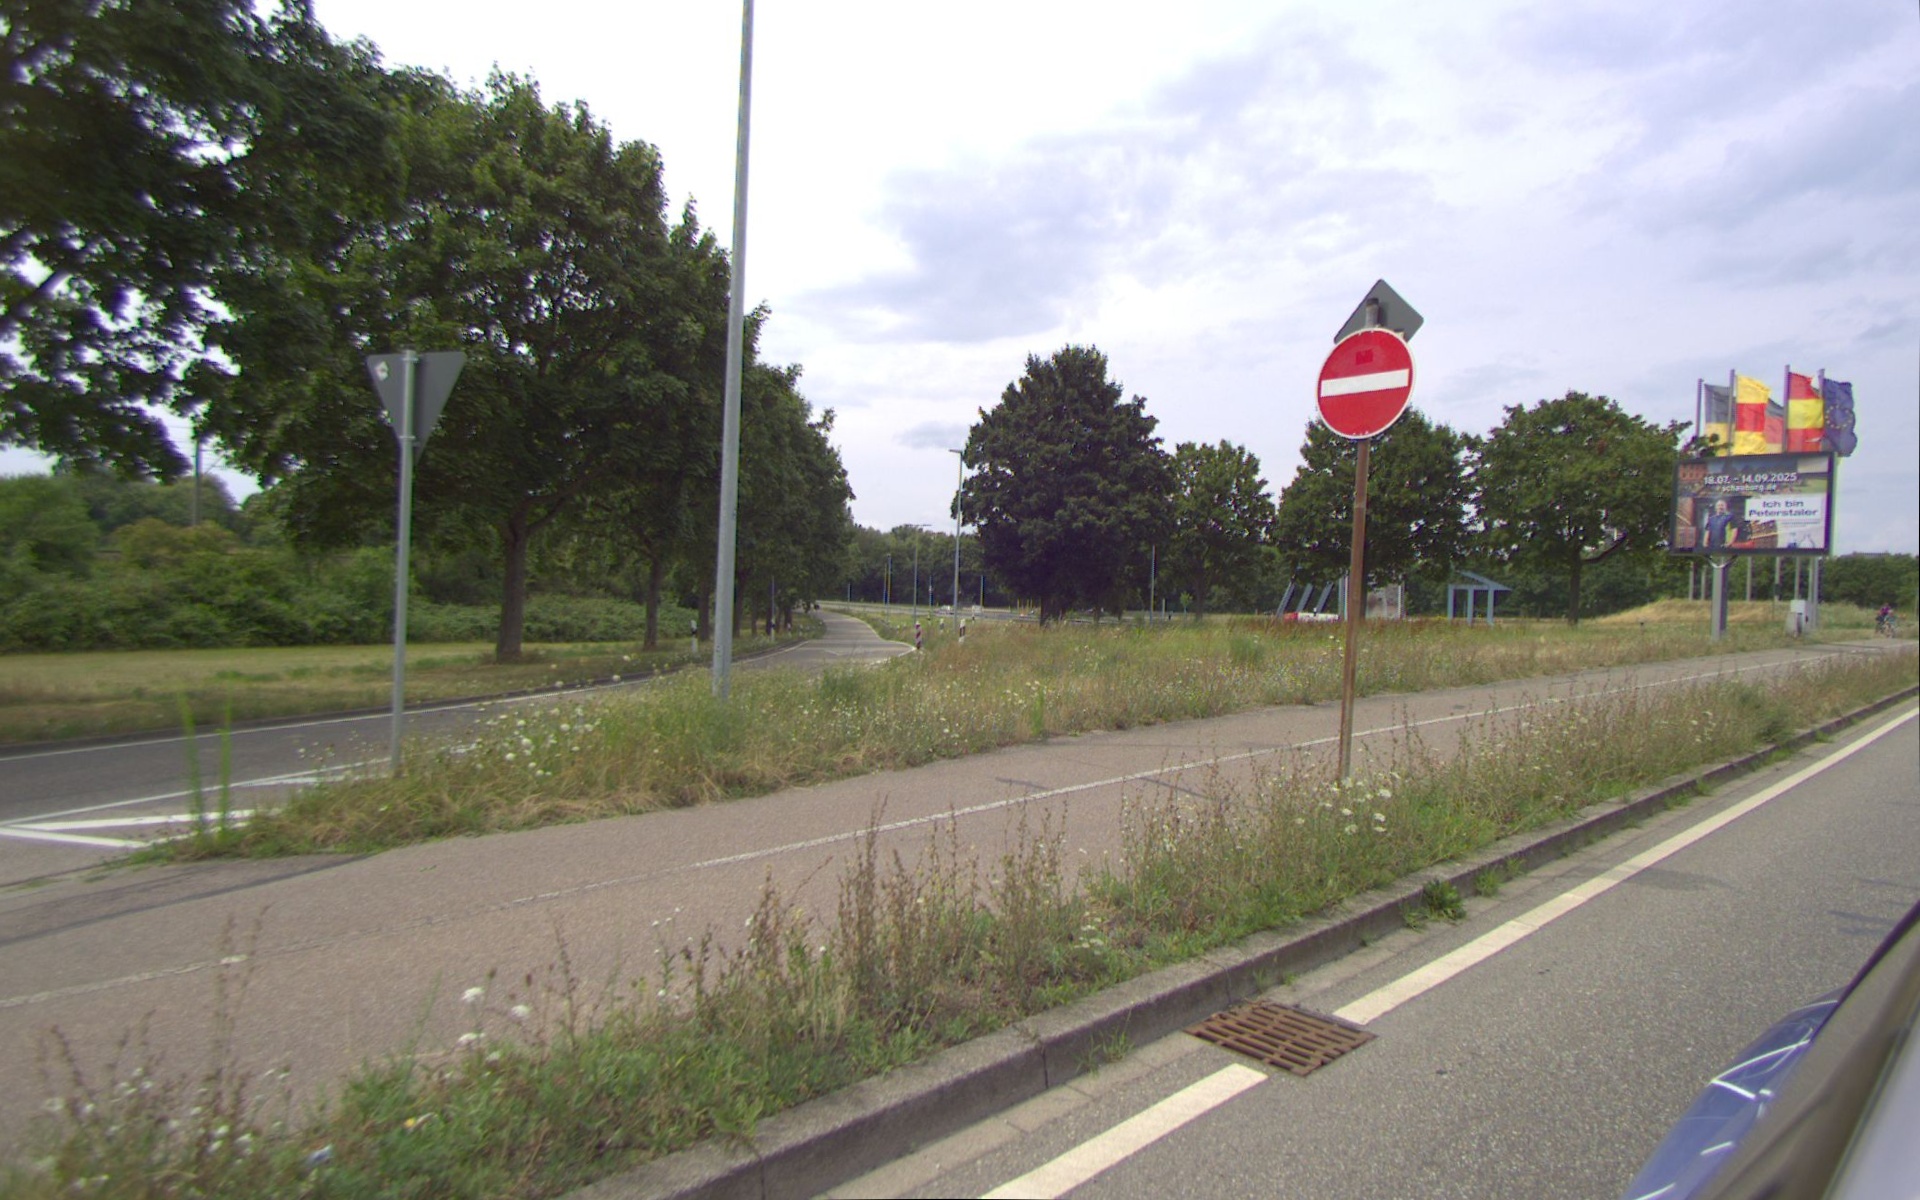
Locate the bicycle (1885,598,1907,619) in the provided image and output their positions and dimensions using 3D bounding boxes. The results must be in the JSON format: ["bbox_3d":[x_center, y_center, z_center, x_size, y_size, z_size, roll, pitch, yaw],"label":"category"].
[{"bbox_3d":[54.947,0.512,59.393,2.418,1.207,0.695,1,1,-41],"label":"bicycle"}]

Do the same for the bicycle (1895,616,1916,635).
[{"bbox_3d":[49.787,1.333,53.282,2.117,0.899,0.624,0,1,-42],"label":"bicycle"}]

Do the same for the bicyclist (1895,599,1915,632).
[{"bbox_3d":[49.500,0.797,53.010,0.657,1.686,0.623,2,2,-41],"label":"bicyclist"}]

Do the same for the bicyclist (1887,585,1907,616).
[{"bbox_3d":[54.994,0.053,59.410,0.974,1.777,0.704,2,0,-41],"label":"bicyclist"}]
